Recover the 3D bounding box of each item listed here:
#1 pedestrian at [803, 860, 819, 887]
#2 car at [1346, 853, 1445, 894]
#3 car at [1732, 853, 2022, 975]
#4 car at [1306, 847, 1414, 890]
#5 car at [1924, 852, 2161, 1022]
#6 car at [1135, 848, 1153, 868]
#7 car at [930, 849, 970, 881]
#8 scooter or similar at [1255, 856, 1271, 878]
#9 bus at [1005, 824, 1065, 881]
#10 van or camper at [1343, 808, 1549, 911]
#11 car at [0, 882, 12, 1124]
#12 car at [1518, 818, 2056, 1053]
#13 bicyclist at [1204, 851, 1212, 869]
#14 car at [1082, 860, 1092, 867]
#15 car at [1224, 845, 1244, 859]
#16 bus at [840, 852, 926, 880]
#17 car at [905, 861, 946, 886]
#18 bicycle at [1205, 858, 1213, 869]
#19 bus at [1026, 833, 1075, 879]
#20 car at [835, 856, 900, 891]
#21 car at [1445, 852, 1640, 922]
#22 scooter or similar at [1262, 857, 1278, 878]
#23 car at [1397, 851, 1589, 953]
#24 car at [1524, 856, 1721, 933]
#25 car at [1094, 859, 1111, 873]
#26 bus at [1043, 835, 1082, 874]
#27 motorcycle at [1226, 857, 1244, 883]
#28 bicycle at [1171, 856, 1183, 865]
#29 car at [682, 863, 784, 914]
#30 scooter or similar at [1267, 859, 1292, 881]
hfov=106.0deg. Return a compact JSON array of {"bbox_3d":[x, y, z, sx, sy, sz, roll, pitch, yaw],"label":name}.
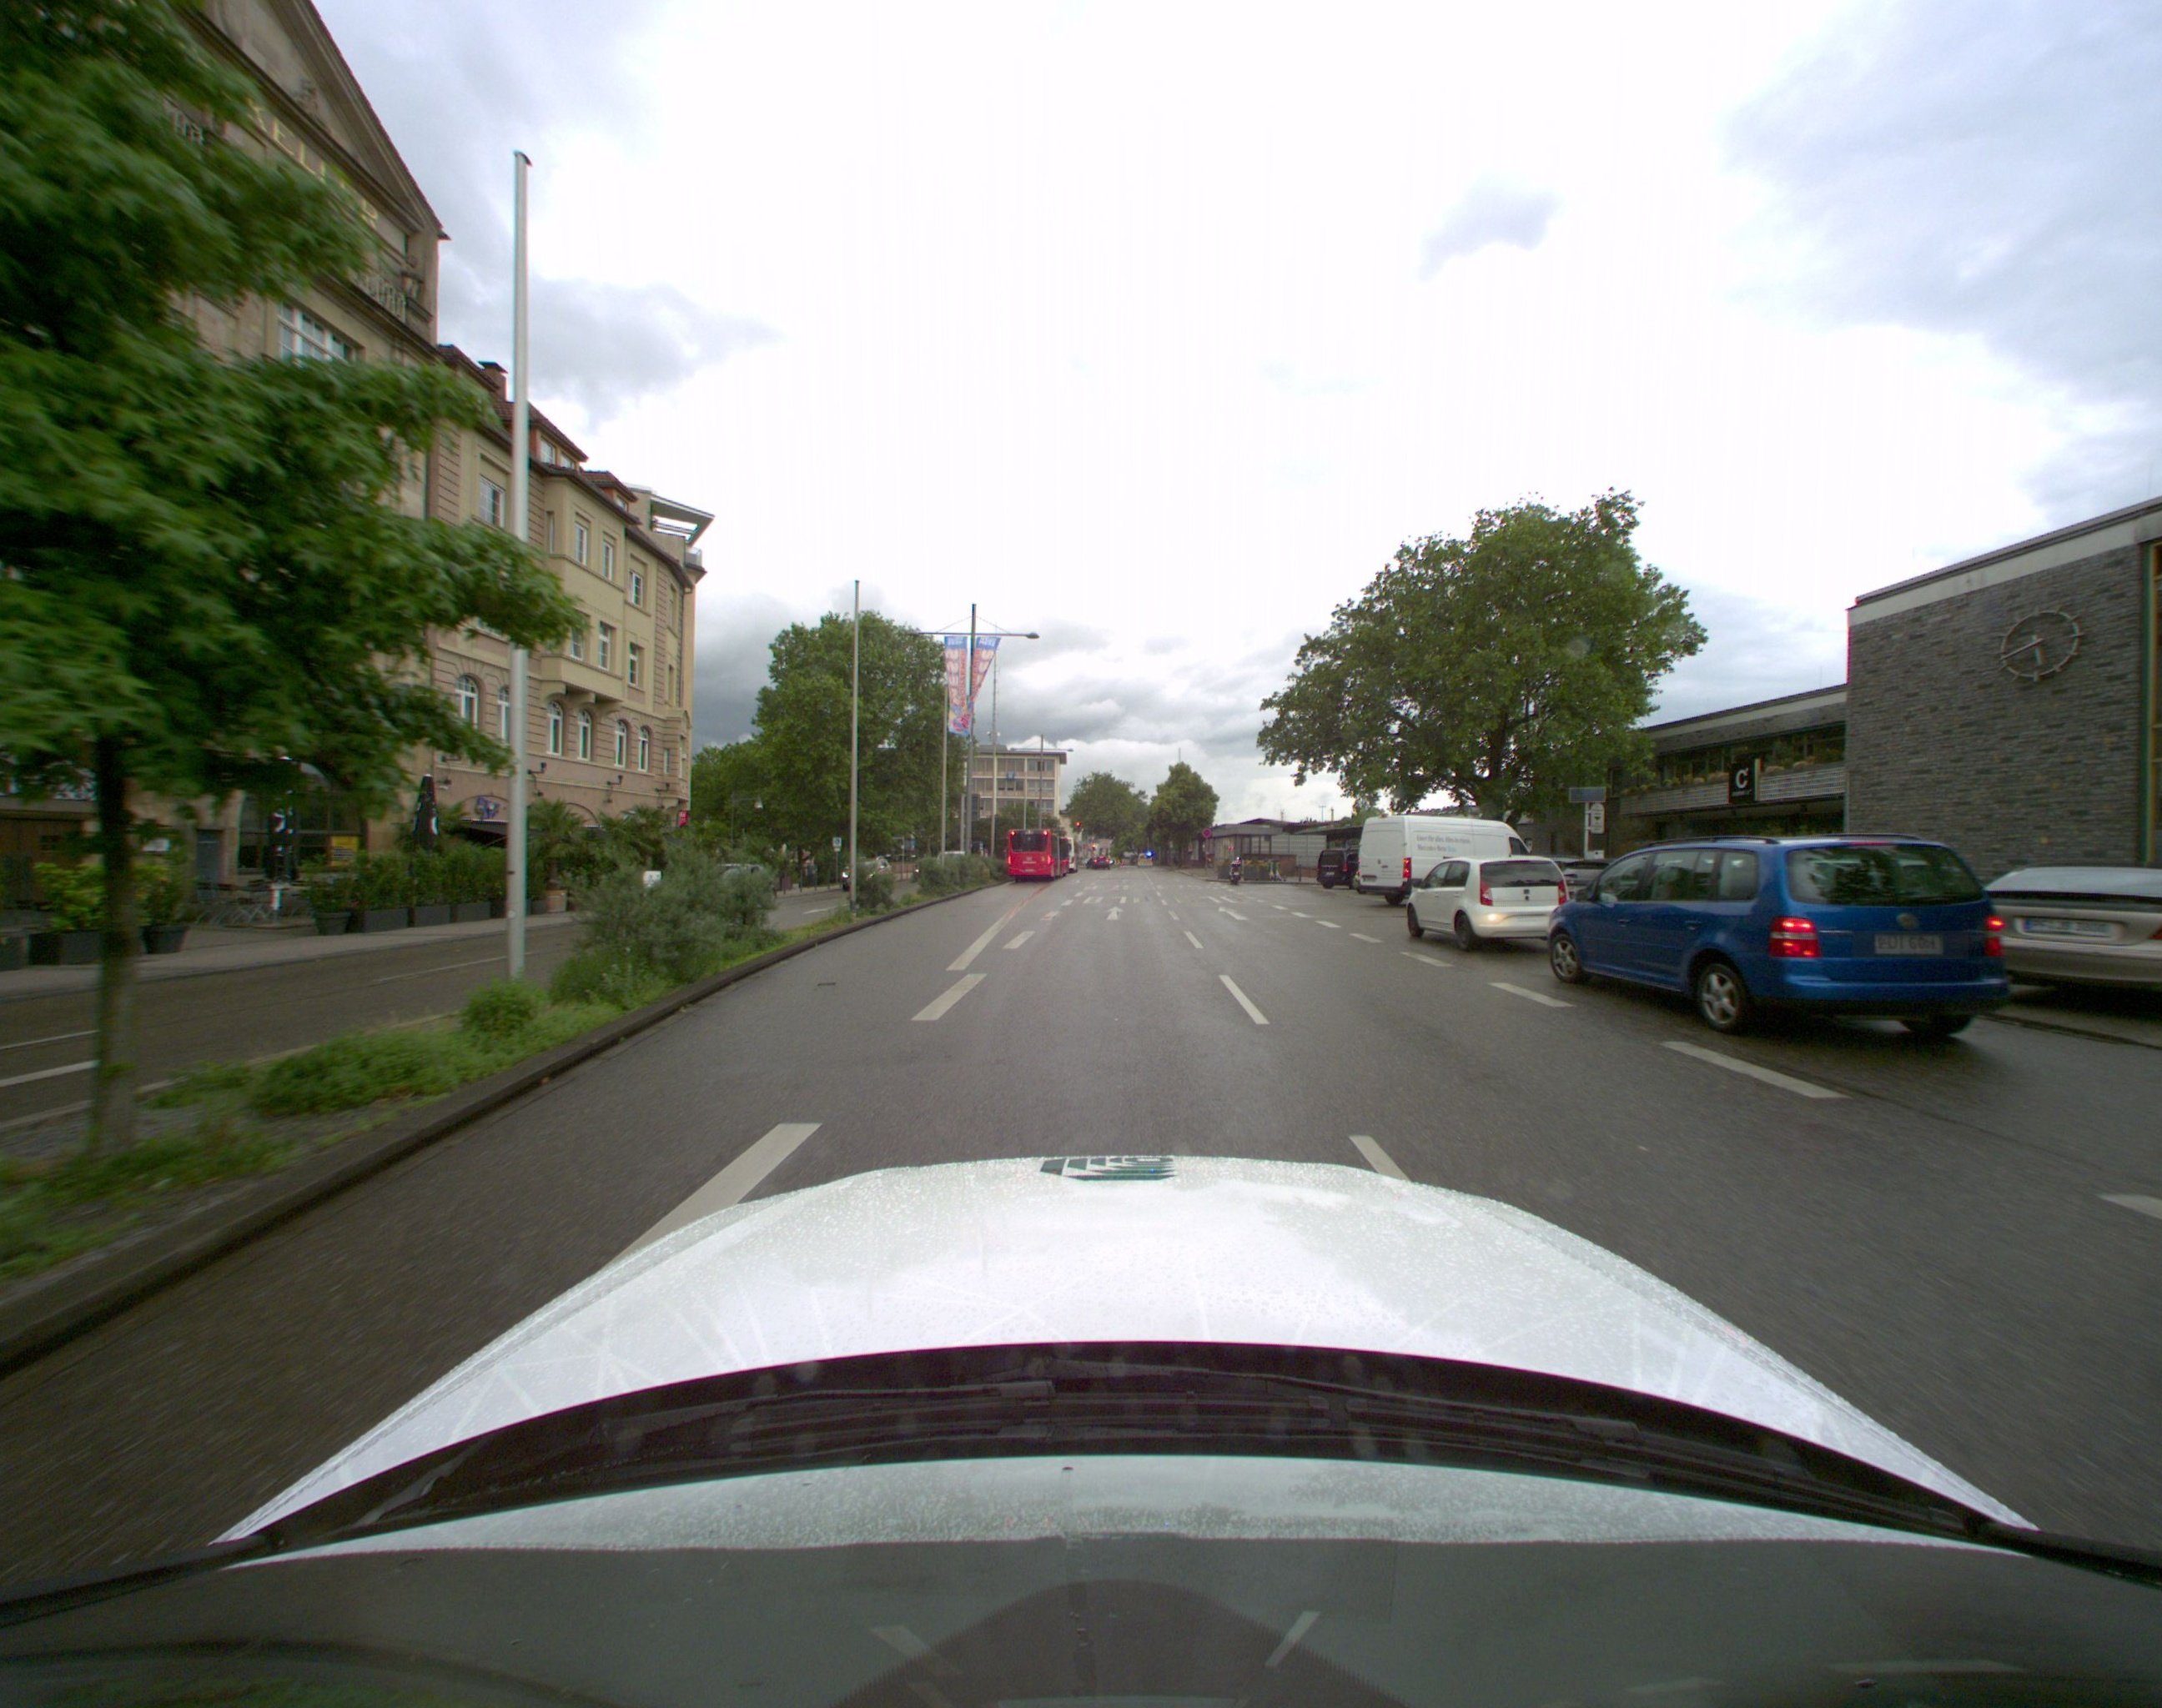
[{"bbox_3d":[-15.518,1.105,46.830,0.689,1.529,0.725,-1,0,-9],"label":"pedestrian"},{"bbox_3d":[12.677,0.765,32.828,3.598,1.524,1.747,-1,0,-27],"label":"car"},{"bbox_3d":[10.950,0.715,11.197,3.627,1.399,1.764,-1,0,-27],"label":"car"},{"bbox_3d":[13.012,0.627,37.949,4.709,1.874,2.091,-1,0,-27],"label":"car"},{"bbox_3d":[10.587,0.693,8.237,3.939,1.399,1.764,-1,0,-27],"label":"car"},{"bbox_3d":[8.501,0.500,110.013,2.256,2.656,4.001,-1,0,1],"label":"car"},{"bbox_3d":[-8.475,0.675,53.023,1.915,1.974,4.853,-1,0,-1],"label":"car"},{"bbox_3d":[10.103,0.719,45.226,0.409,1.155,1.271,2,0,34],"label":"scooter or similar"},{"bbox_3d":[-2.751,-0.065,52.008,2.798,3.245,9.920,-1,0,3],"label":"bus"},{"bbox_3d":[11.401,0.132,25.298,6.546,2.869,2.260,-1,0,-28],"label":"van or camper"},{"bbox_3d":[-7.436,0.913,2.453,1.837,1.464,5.027,-1,0,-1],"label":"car"},{"bbox_3d":[6.281,0.597,8.111,1.811,1.682,4.423,-1,0,5],"label":"car"},{"bbox_3d":[11.414,0.548,73.094,0.532,1.538,0.694,-2,-1,0],"label":"bicyclist"},{"bbox_3d":[1.234,1.925,166.231,1.683,1.297,4.098,1,-1,5],"label":"car"},{"bbox_3d":[21.730,-0.263,115.747,1.986,1.871,4.600,-1,0,2],"label":"car"},{"bbox_3d":[-26.959,1.632,110.524,11.826,3.019,2.905,-4,-2,24],"label":"bus"},{"bbox_3d":[-10.489,1.277,55.221,1.785,1.579,4.739,-1,0,0],"label":"car"},{"bbox_3d":[11.478,0.849,73.102,0.444,1.016,1.678,-3,-1,1],"label":"bicycle"},{"bbox_3d":[-2.182,0.157,61.305,2.740,3.132,8.851,-1,0,4],"label":"bus"},{"bbox_3d":[-10.891,0.934,41.838,1.985,1.680,4.106,-1,0,4],"label":"car"},{"bbox_3d":[11.123,0.717,19.580,4.479,1.471,1.903,-1,0,-27],"label":"car"},{"bbox_3d":[10.445,0.759,44.947,0.409,1.155,1.271,2,0,34],"label":"scooter or similar"},{"bbox_3d":[6.741,0.706,13.752,1.649,1.474,3.593,-1,0,5],"label":"car"},{"bbox_3d":[11.153,0.758,16.764,3.697,1.399,1.764,-1,0,-27],"label":"car"},{"bbox_3d":[2.549,1.420,95.882,1.957,1.640,4.360,-1,-1,1],"label":"car"},{"bbox_3d":[-1.631,0.063,77.399,2.944,3.439,12.564,0,0,2],"label":"bus"},{"bbox_3d":[8.009,0.819,42.437,0.640,1.352,2.111,-1,0,4],"label":"motorcycle"},{"bbox_3d":[14.406,0.951,121.747,1.703,1.249,0.489,-2,-1,34],"label":"bicycle"},{"bbox_3d":[-10.839,1.012,25.653,1.623,1.432,3.759,-1,0,-1],"label":"car"},{"bbox_3d":[11.060,0.855,45.346,1.060,1.155,1.669,2,0,3],"label":"scooter or similar"}]
